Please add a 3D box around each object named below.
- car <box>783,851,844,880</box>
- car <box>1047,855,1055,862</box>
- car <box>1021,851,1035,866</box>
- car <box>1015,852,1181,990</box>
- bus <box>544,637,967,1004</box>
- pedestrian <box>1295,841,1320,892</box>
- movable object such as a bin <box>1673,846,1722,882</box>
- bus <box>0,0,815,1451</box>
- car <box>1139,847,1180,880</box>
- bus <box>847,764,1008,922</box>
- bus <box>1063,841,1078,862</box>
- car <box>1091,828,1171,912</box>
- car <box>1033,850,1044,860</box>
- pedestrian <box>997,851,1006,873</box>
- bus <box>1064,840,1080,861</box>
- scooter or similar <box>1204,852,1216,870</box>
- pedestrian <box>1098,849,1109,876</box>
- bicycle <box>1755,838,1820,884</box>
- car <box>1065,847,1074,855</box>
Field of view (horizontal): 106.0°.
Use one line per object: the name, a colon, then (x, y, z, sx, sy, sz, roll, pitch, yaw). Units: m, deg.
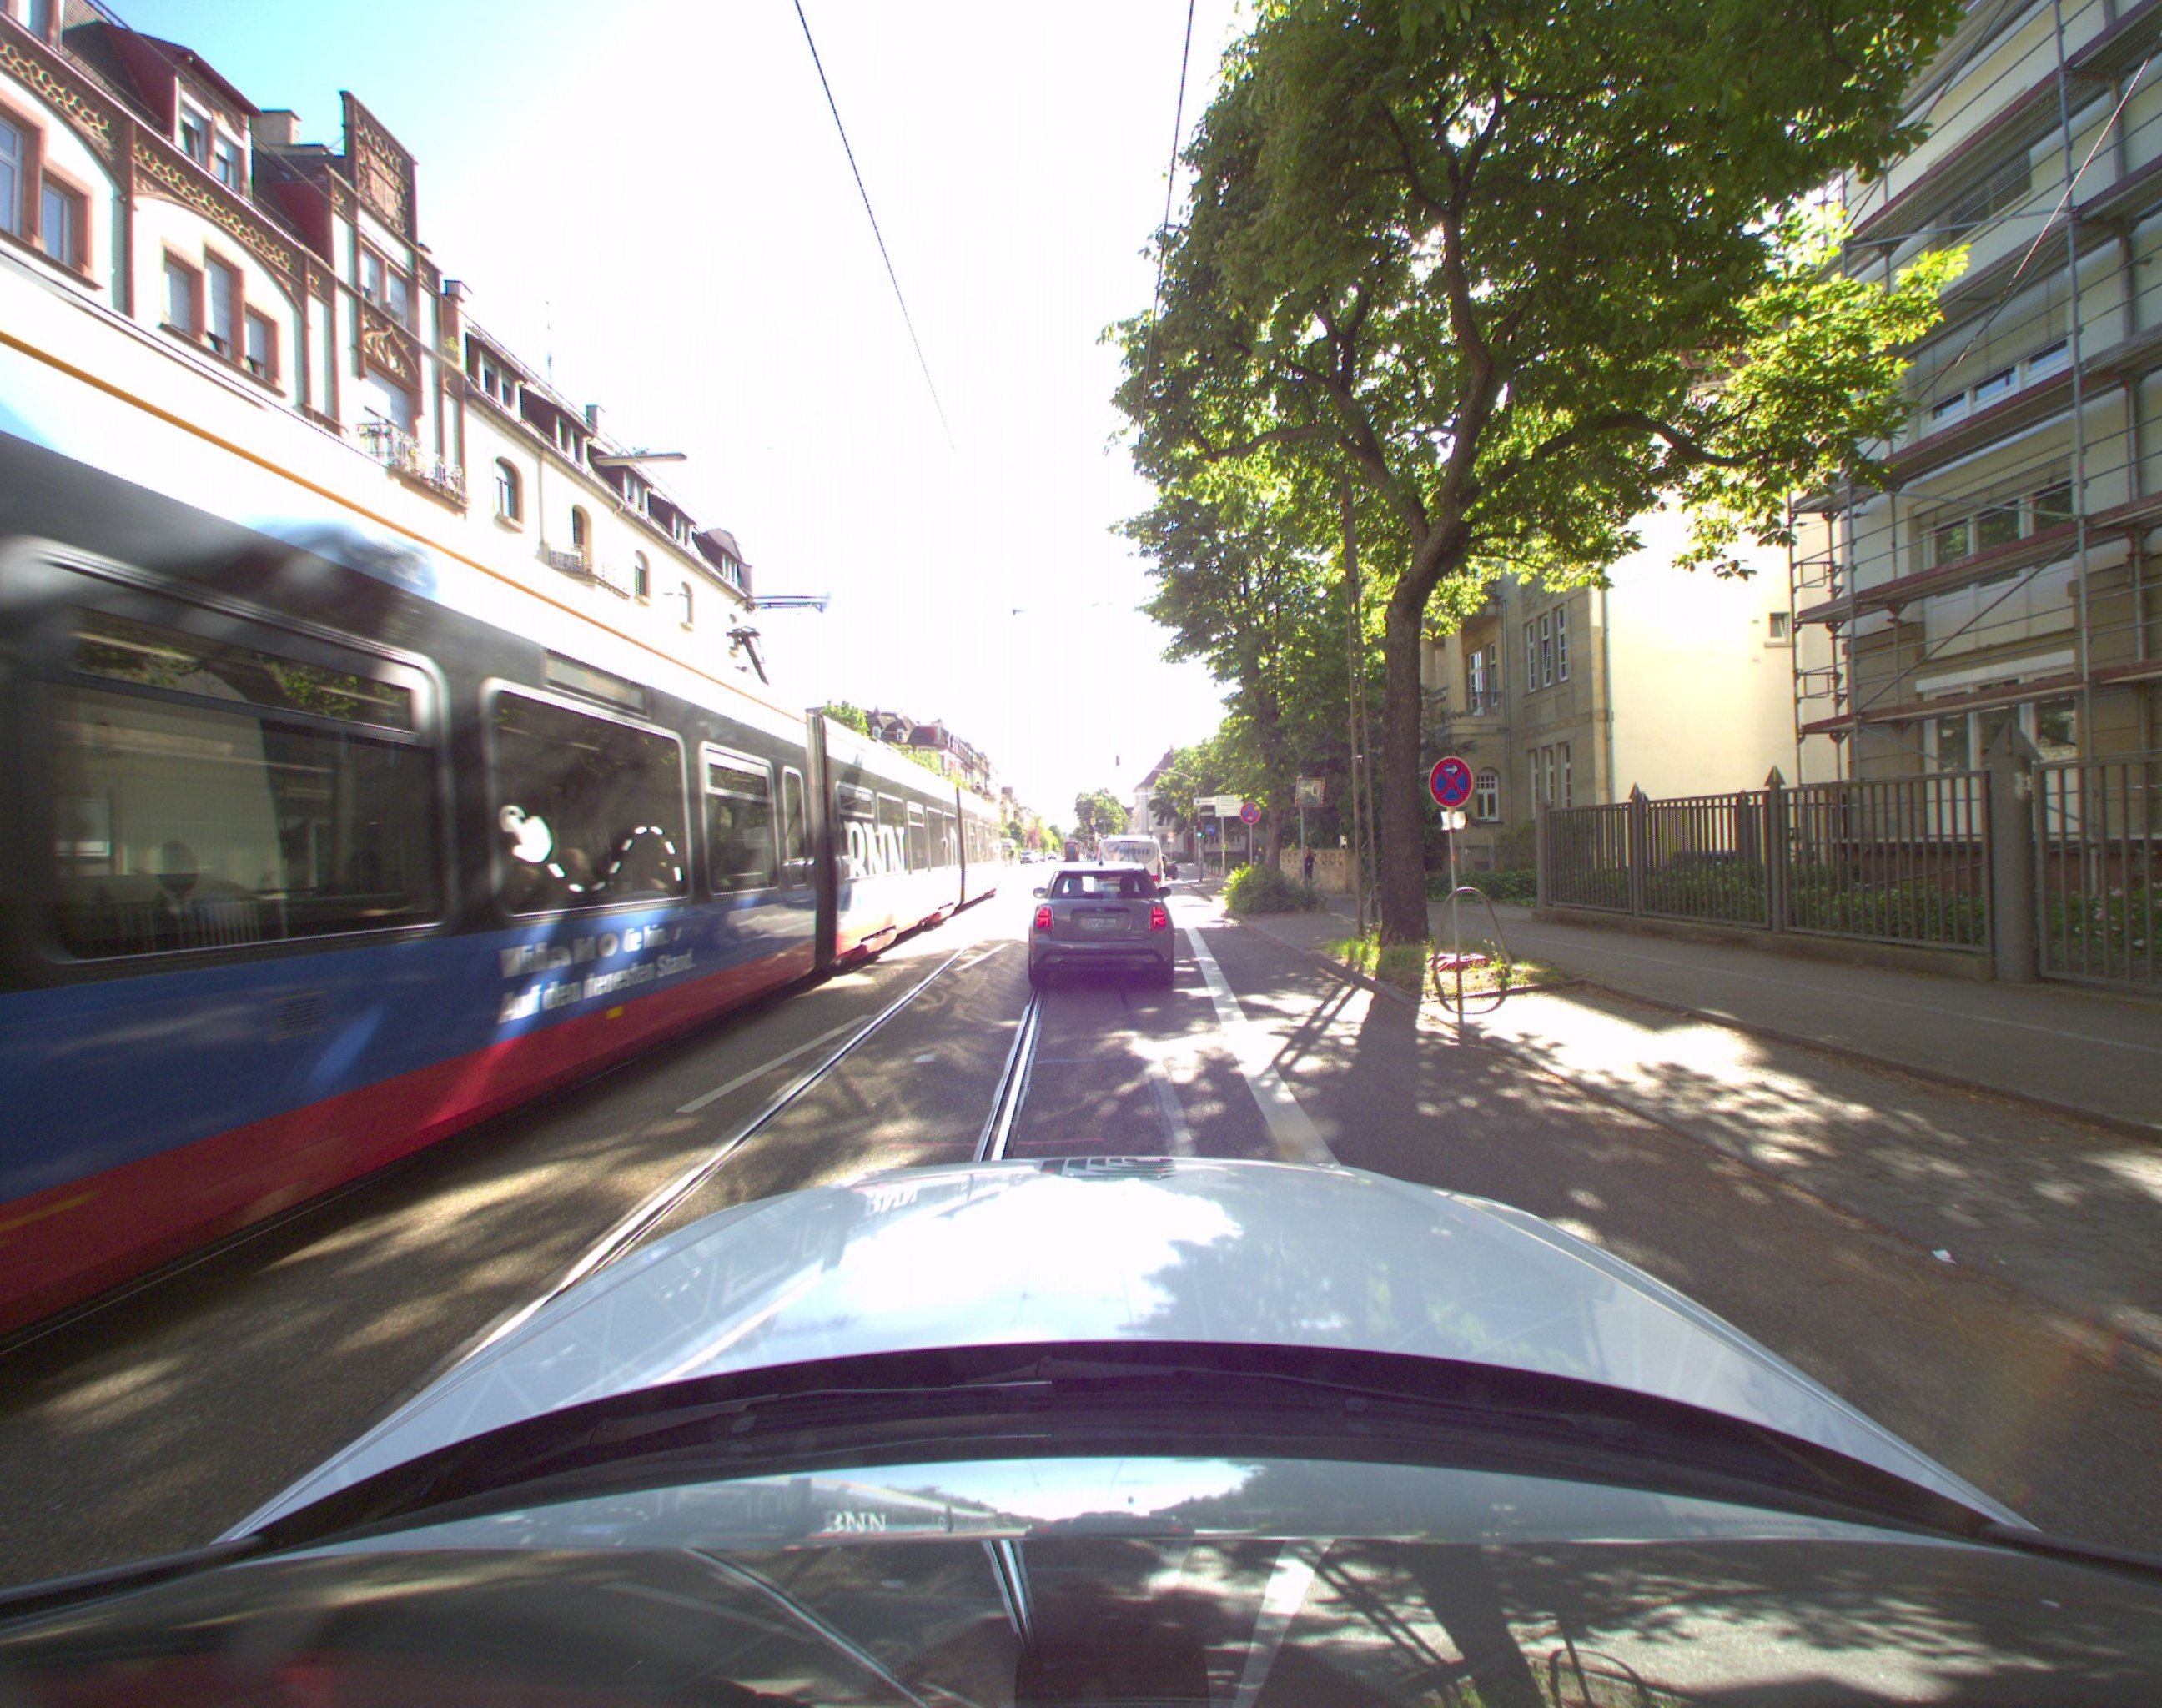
car: (-18.982, 0.824, 57.754, 3.949, 2.014, 2.012, -1, -1, 30)
car: (-6.229, 0.942, 169.136, 1.771, 1.618, 3.997, 0, -1, -2)
car: (-7.732, 0.659, 119.470, 1.988, 2.014, 5.025, 0, -1, -2)
car: (0.247, 0.748, 10.894, 1.808, 1.488, 4.001, 0, -1, 2)
bus: (-4.133, -0.310, 14.003, 2.851, 3.777, 11.179, 0, -1, -1)
pedestrian: (7.618, 0.408, 27.435, 0.590, 1.671, 0.647, -3, -1, 1)
movable object such as a bin: (16.678, 0.276, 22.051, 0.831, 0.955, 0.648, 0, -1, 0)
bus: (-4.103, -0.404, 2.534, 2.851, 3.777, 11.494, 0, 0, 0)
car: (4.249, 0.524, 44.774, 1.986, 1.706, 4.002, 0, -1, 2)
bus: (-4.236, -0.215, 25.679, 2.841, 3.777, 12.193, 0, 0, 0)
bus: (-1.889, -0.432, 143.673, 2.379, 3.496, 7.377, 0, -1, -2)
car: (1.406, 0.446, 24.078, 2.110, 2.208, 4.946, 0, -1, 2)
car: (-7.012, 0.251, 135.059, 1.771, 1.618, 3.997, 0, -1, -2)
pedestrian: (-6.658, 0.650, 68.263, 0.579, 1.795, 0.604, -2, 0, -17)
bus: (-1.581, -0.530, 136.248, 2.379, 3.496, 7.377, 0, -1, -2)
scooter or similar: (9.319, 0.496, 58.776, 0.673, 1.310, 1.329, 0, -1, 1)
pedestrian: (1.719, 0.632, 62.270, 0.793, 2.014, 0.740, 0, -1, 0)
bicycle: (18.836, 0.186, 21.707, 1.697, 1.199, 0.434, 0, -1, -16)
car: (-2.438, -0.620, 169.432, 1.859, 1.563, 3.997, 0, -1, -2)
